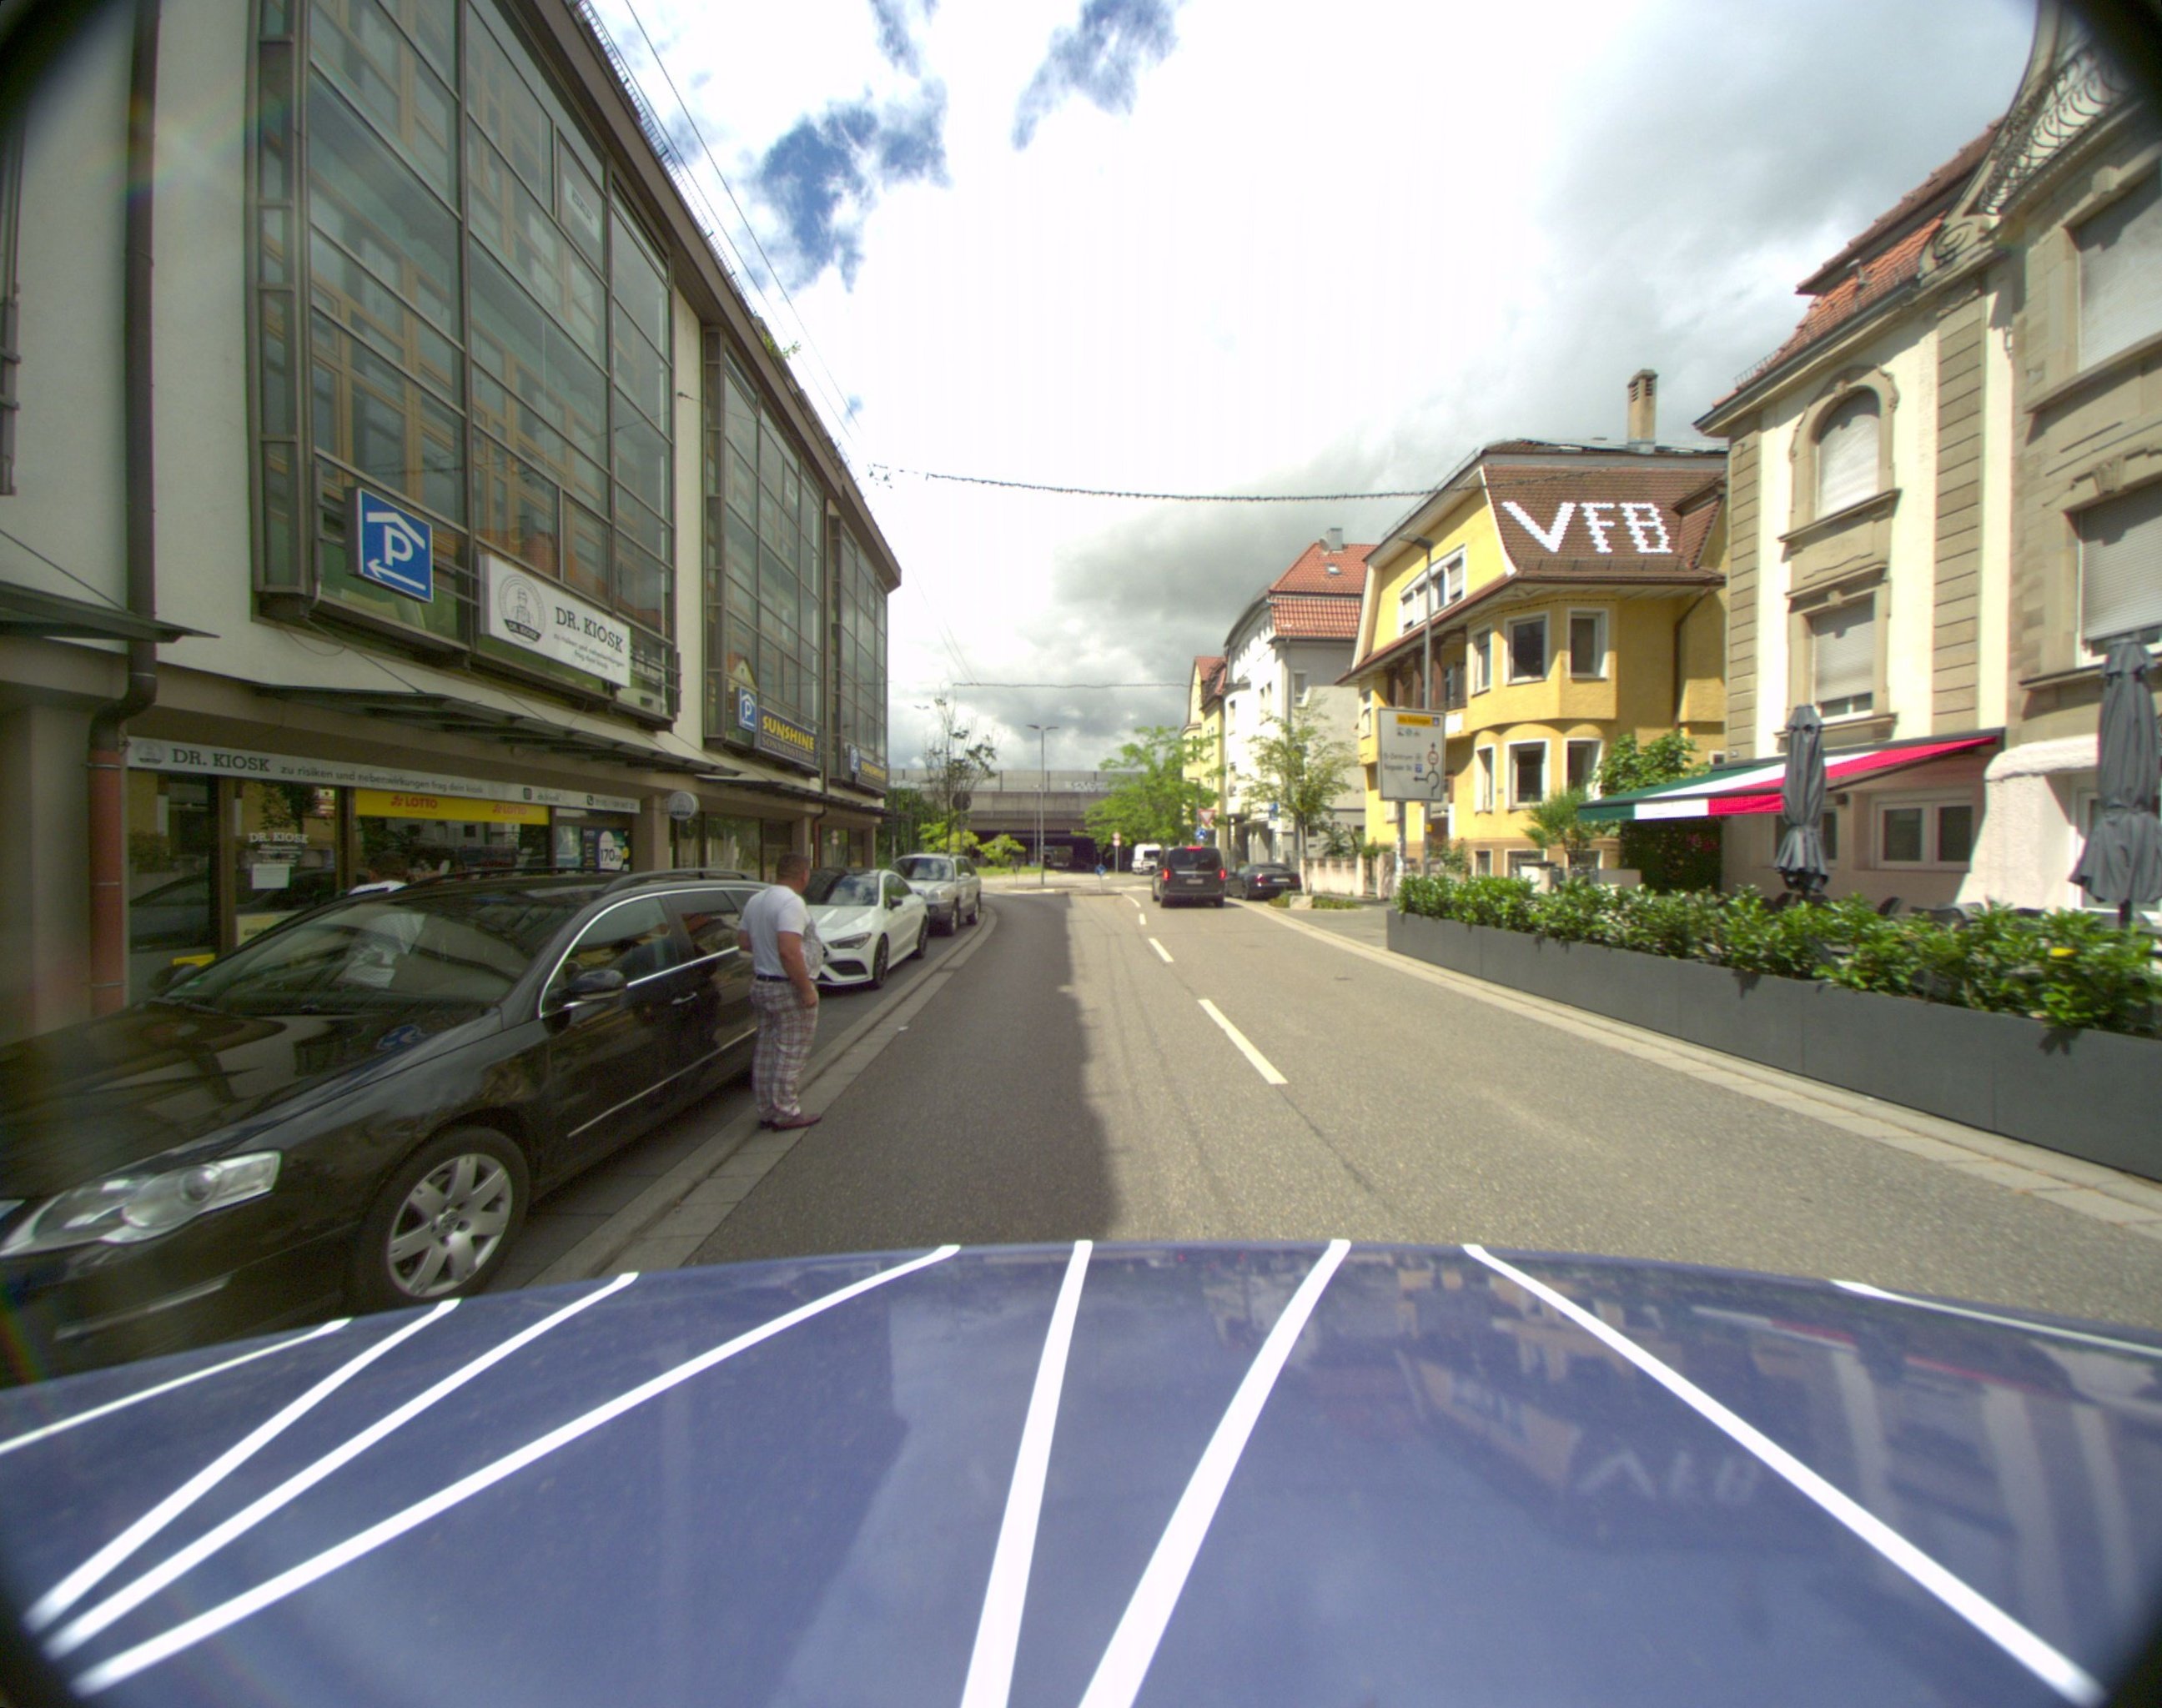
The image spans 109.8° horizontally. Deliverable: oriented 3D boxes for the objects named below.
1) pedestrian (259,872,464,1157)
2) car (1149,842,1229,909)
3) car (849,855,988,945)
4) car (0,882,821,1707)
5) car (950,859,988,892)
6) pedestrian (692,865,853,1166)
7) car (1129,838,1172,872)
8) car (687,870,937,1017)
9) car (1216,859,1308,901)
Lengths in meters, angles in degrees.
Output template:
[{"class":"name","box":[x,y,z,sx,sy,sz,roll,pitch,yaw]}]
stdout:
[{"class":"pedestrian","box":[-4.195,0.903,4.464,0.661,1.553,0.477,-2,1,0]},{"class":"car","box":[3.331,0.650,24.387,1.876,1.921,5.177,-1,-1,0]},{"class":"car","box":[-3.334,0.864,16.515,1.825,1.652,4.467,1,0,3]},{"class":"car","box":[-2.931,0.960,3.666,1.719,1.445,4.552,-1,0,1]},{"class":"car","box":[-5.566,1.043,38.127,1.725,1.517,3.596,0,0,-7]},{"class":"pedestrian","box":[-1.768,0.874,4.403,0.584,1.590,0.549,-1,1,20]},{"class":"car","box":[5.835,0.070,64.820,2.310,2.657,7.265,-2,1,-5]},{"class":"car","box":[-3.290,1.000,10.375,1.857,1.436,4.535,-1,0,-1]},{"class":"car","box":[6.166,0.863,26.385,1.722,1.296,4.464,-1,-1,-6]}]
